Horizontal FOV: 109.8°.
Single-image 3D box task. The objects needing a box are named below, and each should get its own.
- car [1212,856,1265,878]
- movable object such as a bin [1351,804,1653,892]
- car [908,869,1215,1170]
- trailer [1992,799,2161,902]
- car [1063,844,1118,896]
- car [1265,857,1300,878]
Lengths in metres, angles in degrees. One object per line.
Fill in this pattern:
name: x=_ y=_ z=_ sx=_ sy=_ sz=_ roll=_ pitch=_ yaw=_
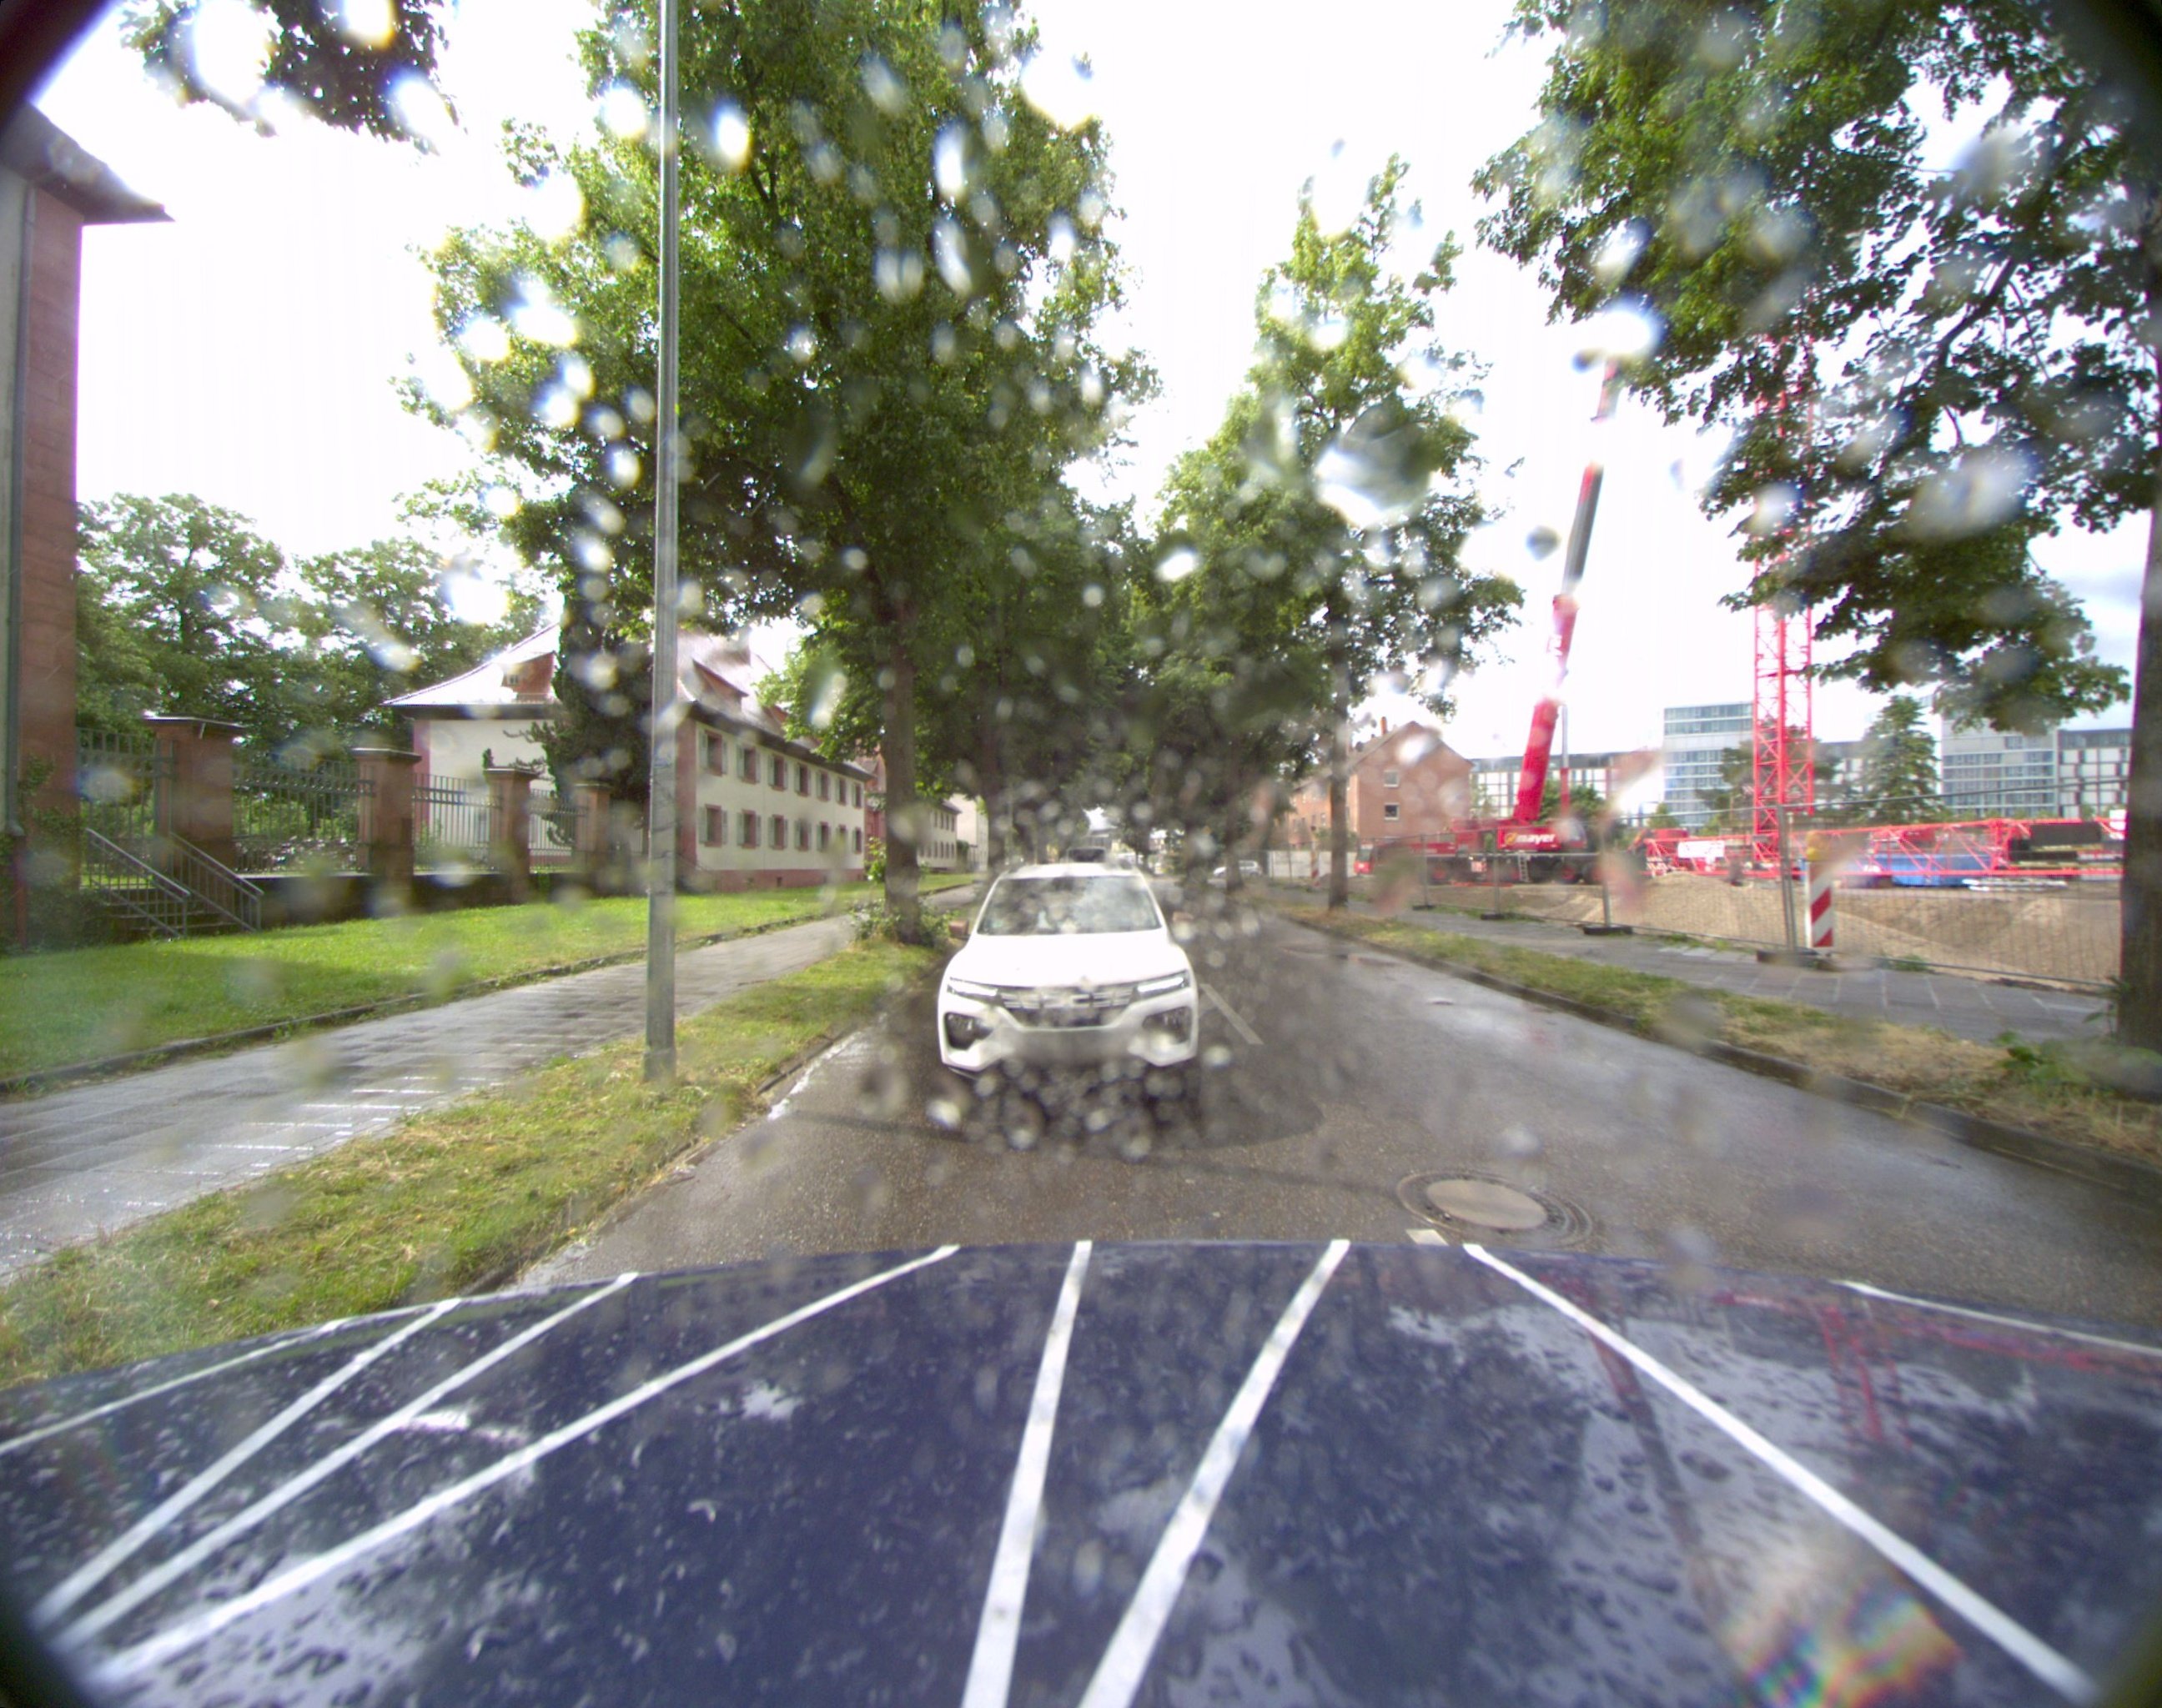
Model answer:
car: x=12.428 y=1.028 z=59.782 sx=3.864 sy=1.543 sz=1.700 roll=-2 pitch=1 yaw=18
movable object such as a bin: x=24.879 y=-0.342 z=45.649 sx=15.941 sy=4.532 sz=3.102 roll=-2 pitch=1 yaw=4
car: x=-0.069 y=0.935 z=6.094 sx=1.608 sy=1.499 sz=4.000 roll=-2 pitch=0 yaw=1
trailer: x=35.753 y=-0.156 z=21.387 sx=2.968 sy=3.214 sz=14.309 roll=-4 pitch=0 yaw=0
car: x=0.317 y=0.627 z=32.825 sx=2.107 sy=1.990 sz=5.433 roll=-2 pitch=1 yaw=-1
car: x=16.599 y=1.096 z=62.664 sx=1.693 sy=1.521 sz=3.999 roll=-2 pitch=1 yaw=-1
